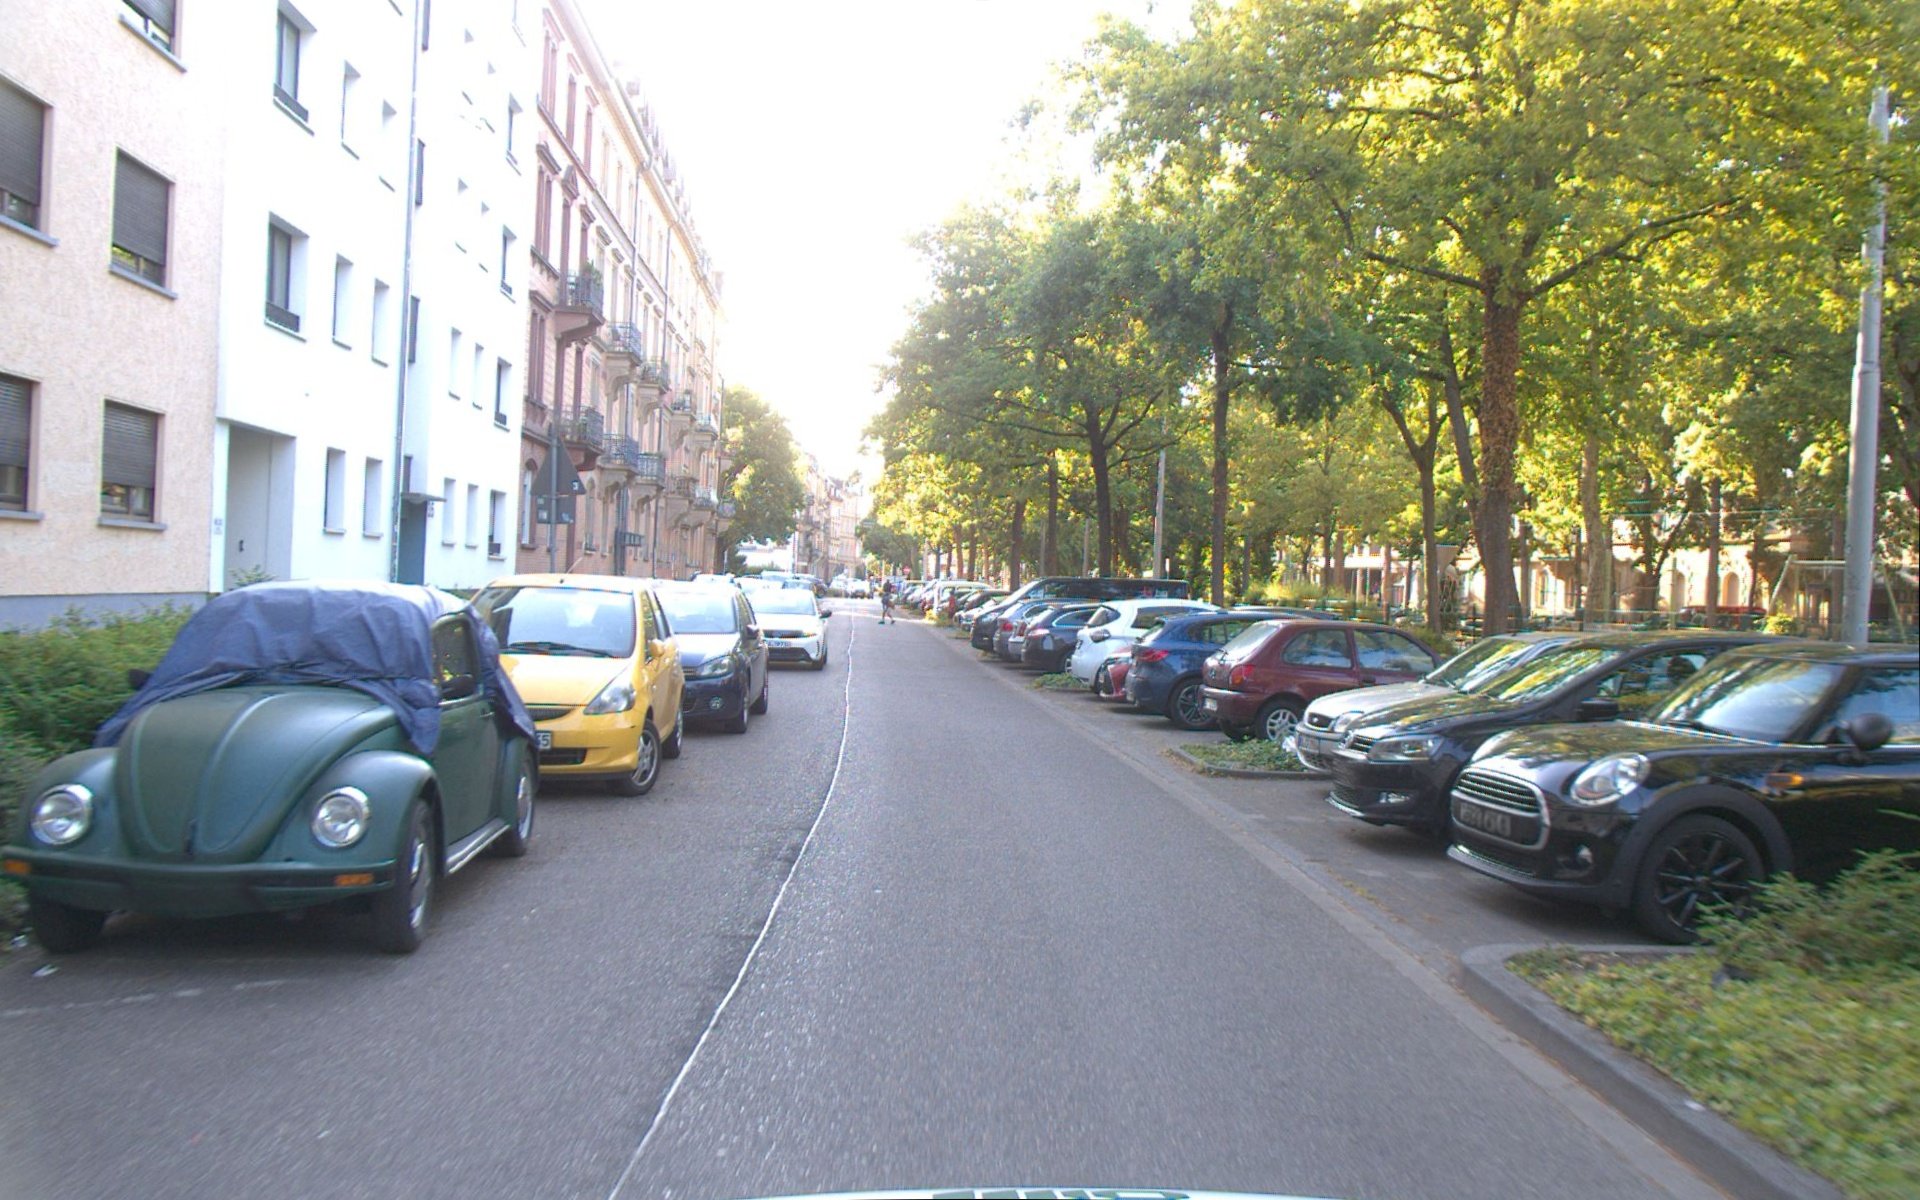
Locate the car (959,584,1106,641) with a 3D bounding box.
[{"bbox_3d":[2.206,0.379,51.093,4.313,1.619,1.836,2,0,-4],"label":"car"}]

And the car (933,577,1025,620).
[{"bbox_3d":[0.861,-0.078,76.207,4.135,1.896,1.761,1,0,-3],"label":"car"}]

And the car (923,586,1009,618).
[{"bbox_3d":[0.279,0.066,80.625,4.133,1.478,1.649,1,0,0],"label":"car"}]

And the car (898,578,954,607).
[{"bbox_3d":[-2.559,-0.538,123.314,3.911,1.825,1.856,4,-1,-7],"label":"car"}]

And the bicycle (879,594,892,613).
[{"bbox_3d":[-4.606,0.237,102.365,0.629,1.119,1.942,4,-1,-5],"label":"bicycle"}]

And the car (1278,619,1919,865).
[{"bbox_3d":[4.212,0.905,11.182,3.706,1.426,1.826,2,-1,-3],"label":"car"}]

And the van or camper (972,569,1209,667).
[{"bbox_3d":[2.983,0.390,38.720,5.304,2.062,2.029,2,1,-2],"label":"van or camper"}]

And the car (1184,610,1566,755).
[{"bbox_3d":[4.522,0.893,18.308,3.710,1.426,1.763,2,-1,-8],"label":"car"}]

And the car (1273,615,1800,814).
[{"bbox_3d":[4.604,0.900,13.523,3.707,1.426,1.663,2,-1,-4],"label":"car"}]

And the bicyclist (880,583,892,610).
[{"bbox_3d":[-4.571,-0.214,102.280,0.615,1.600,0.801,4,-2,-5],"label":"bicyclist"}]

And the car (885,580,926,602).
[{"bbox_3d":[-5.683,-0.957,173.814,3.903,2.049,2.001,3,-1,8],"label":"car"}]

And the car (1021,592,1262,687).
[{"bbox_3d":[3.321,0.730,30.819,4.308,1.605,1.664,2,-1,1],"label":"car"}]

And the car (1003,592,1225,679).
[{"bbox_3d":[3.075,0.723,33.617,4.310,1.605,1.664,2,-1,-2],"label":"car"}]

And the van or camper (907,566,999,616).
[{"bbox_3d":[-0.401,-0.489,93.130,4.886,2.418,2.182,4,-1,-6],"label":"van or camper"}]

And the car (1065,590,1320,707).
[{"bbox_3d":[3.616,0.758,26.105,3.707,1.675,1.663,2,-1,-3],"label":"car"}]

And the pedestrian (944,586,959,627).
[{"bbox_3d":[-0.314,0.241,62.732,0.372,1.543,0.519,3,2,16],"label":"pedestrian"}]

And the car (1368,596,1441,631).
[{"bbox_3d":[25.343,0.773,94.400,3.903,1.713,2.001,3,-1,16],"label":"car"}]

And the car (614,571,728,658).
[{"bbox_3d":[-5.798,0.264,33.648,1.635,1.496,4.281,6,0,-3],"label":"car"}]

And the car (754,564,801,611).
[{"bbox_3d":[-8.574,-0.538,77.942,1.955,1.954,5.034,4,-1,-5],"label":"car"}]

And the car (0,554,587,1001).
[{"bbox_3d":[-2.919,0.622,7.775,1.535,1.544,3.781,2,0,-2],"label":"car"}]

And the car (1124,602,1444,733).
[{"bbox_3d":[3.988,0.829,20.771,3.704,1.472,1.664,2,-1,2],"label":"car"}]

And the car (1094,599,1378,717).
[{"bbox_3d":[3.857,0.809,23.483,3.705,1.499,1.664,2,-1,-1],"label":"car"}]

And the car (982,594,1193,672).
[{"bbox_3d":[2.759,0.727,36.201,4.315,1.527,1.835,2,-1,-7],"label":"car"}]

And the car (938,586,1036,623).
[{"bbox_3d":[1.119,0.186,70.713,4.003,1.468,1.759,1,0,-6],"label":"car"}]

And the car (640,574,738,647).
[{"bbox_3d":[-6.202,0.218,38.189,1.583,1.476,3.999,4,0,-1],"label":"car"}]

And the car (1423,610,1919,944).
[{"bbox_3d":[4.497,0.866,8.538,3.710,1.498,1.632,2,-1,-8],"label":"car"}]

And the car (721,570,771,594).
[{"bbox_3d":[-18.015,-1.489,139.237,3.908,1.735,1.999,4,-1,-3],"label":"car"}]

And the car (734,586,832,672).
[{"bbox_3d":[-3.327,0.509,31.672,1.635,1.455,3.998,0,2,-3],"label":"car"}]

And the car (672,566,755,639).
[{"bbox_3d":[-6.417,0.041,43.469,1.717,1.735,4.197,4,0,-4],"label":"car"}]

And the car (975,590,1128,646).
[{"bbox_3d":[2.630,0.514,48.359,4.310,1.465,1.837,2,0,-2],"label":"car"}]

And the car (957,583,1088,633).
[{"bbox_3d":[2.185,0.282,58.479,4.317,1.619,1.834,2,0,-9],"label":"car"}]

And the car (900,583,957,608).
[{"bbox_3d":[-2.317,-0.315,120.653,3.911,1.590,1.856,4,-1,-7],"label":"car"}]

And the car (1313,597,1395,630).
[{"bbox_3d":[23.897,0.814,100.361,4.603,1.713,2.000,3,-1,20],"label":"car"}]

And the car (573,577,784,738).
[{"bbox_3d":[-2.917,0.541,17.921,1.704,1.505,3.998,1,0,-2],"label":"car"}]

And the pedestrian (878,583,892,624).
[{"bbox_3d":[-3.030,0.149,66.709,0.372,1.612,0.519,3,2,16],"label":"pedestrian"}]

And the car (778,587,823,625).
[{"bbox_3d":[-6.465,0.231,67.072,1.473,1.460,2.753,1,1,1],"label":"car"}]

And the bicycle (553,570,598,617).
[{"bbox_3d":[-10.723,-0.202,46.219,0.722,1.227,2.513,4,1,-3],"label":"bicycle"}]

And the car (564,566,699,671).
[{"bbox_3d":[-5.591,0.274,28.550,1.636,1.534,3.997,6,0,-4],"label":"car"}]

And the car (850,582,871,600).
[{"bbox_3d":[-8.488,-0.753,140.881,1.635,1.489,3.996,1,1,-5],"label":"car"}]

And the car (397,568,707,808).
[{"bbox_3d":[-3.017,0.581,12.967,1.669,1.551,3.771,2,0,-4],"label":"car"}]

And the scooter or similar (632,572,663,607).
[{"bbox_3d":[-12.110,-0.377,64.176,0.768,1.243,2.702,4,-1,-4],"label":"scooter or similar"}]
